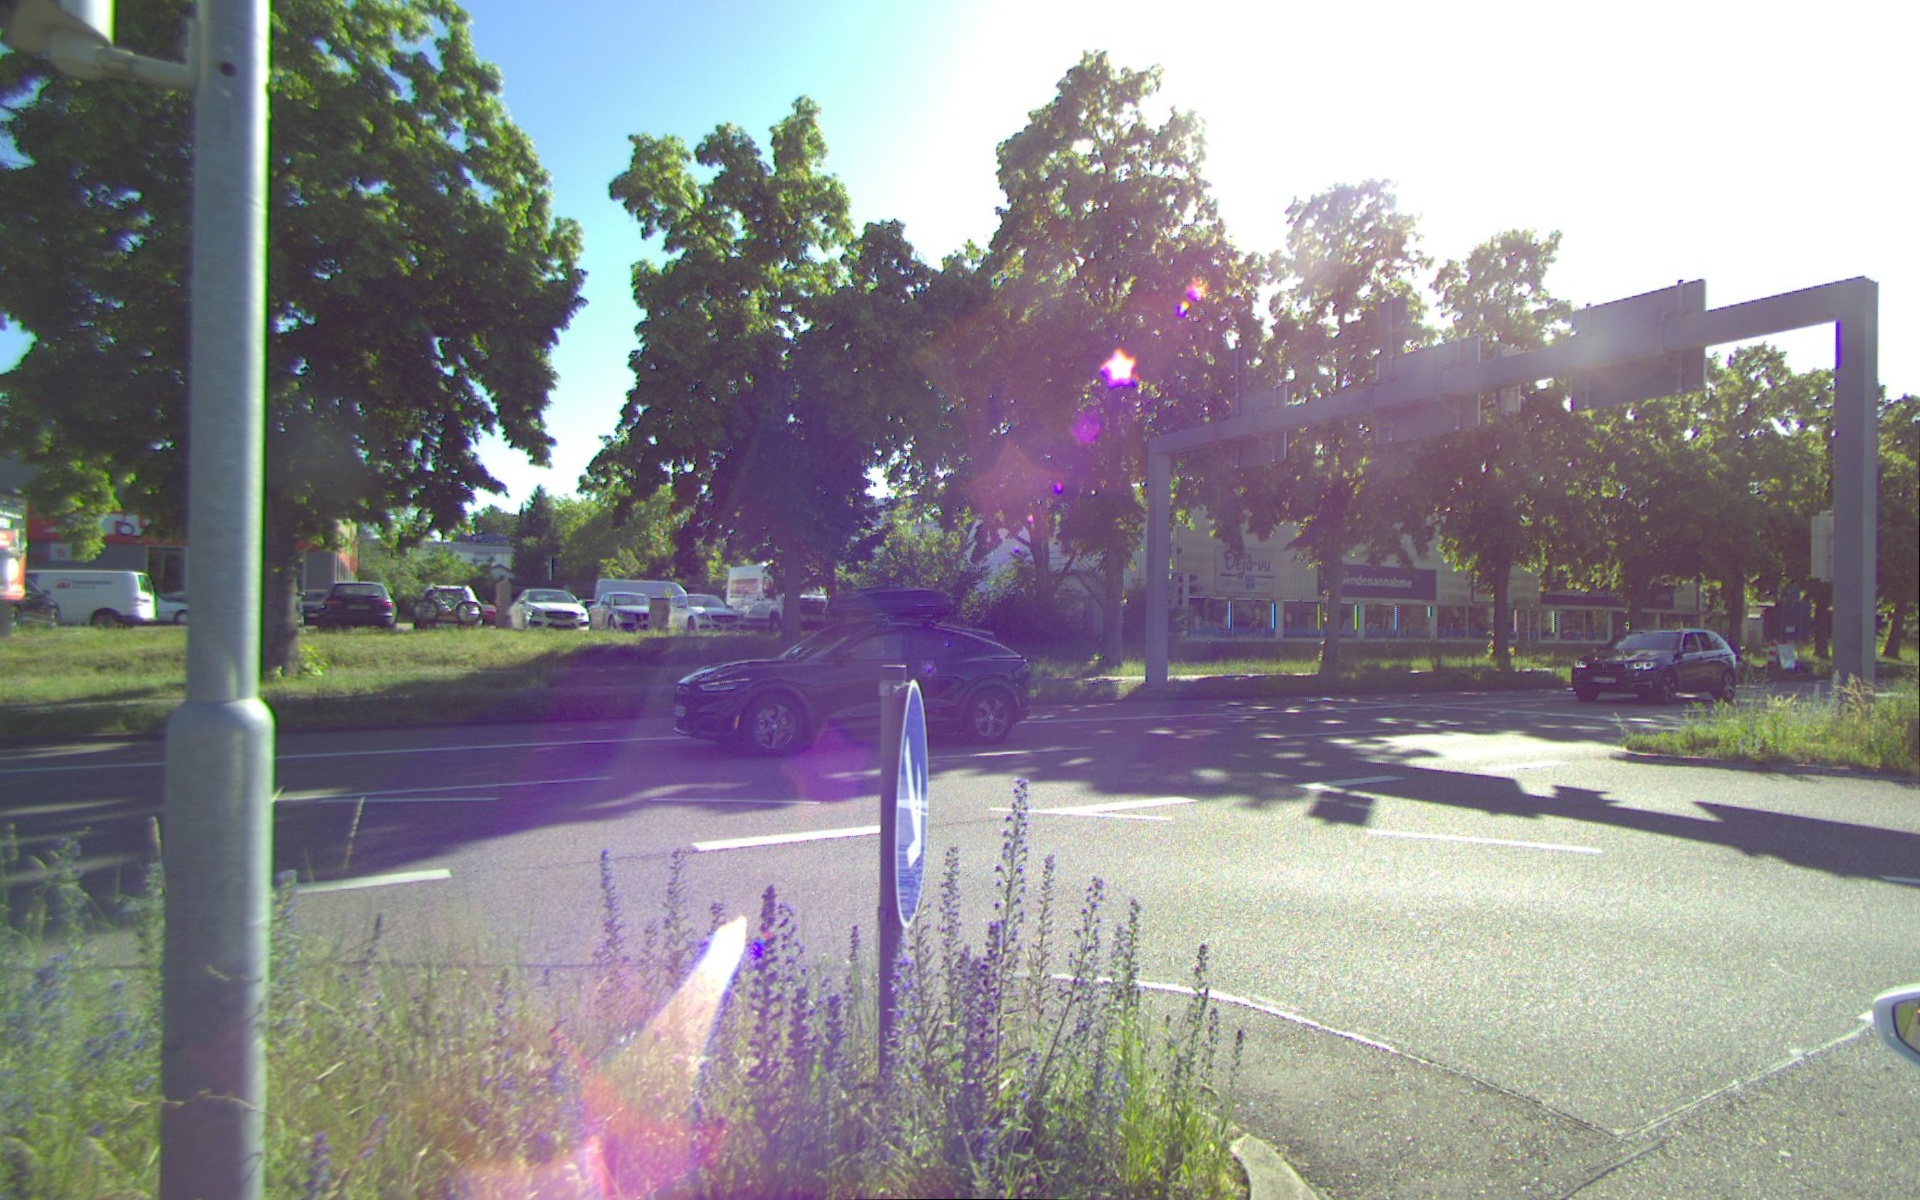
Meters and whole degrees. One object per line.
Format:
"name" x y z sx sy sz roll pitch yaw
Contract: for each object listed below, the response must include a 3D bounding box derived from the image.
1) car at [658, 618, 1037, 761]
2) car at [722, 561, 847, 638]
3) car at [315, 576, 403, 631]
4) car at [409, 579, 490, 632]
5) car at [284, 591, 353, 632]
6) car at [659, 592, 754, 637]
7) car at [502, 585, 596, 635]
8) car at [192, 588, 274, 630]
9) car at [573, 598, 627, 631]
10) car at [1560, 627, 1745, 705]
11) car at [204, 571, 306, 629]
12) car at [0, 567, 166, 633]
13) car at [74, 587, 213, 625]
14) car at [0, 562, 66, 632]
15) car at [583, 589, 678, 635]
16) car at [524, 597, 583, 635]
"car" -1.378 1.074 12.947 4.519 1.563 1.867 2 -3 -31
"car" -6.251 0.051 35.098 2.184 2.465 5.842 1 -2 -33
"car" -16.757 0.137 27.907 1.926 1.407 4.094 2 -2 -33
"car" -15.039 0.209 29.459 1.923 1.407 4.599 1 -2 -29
"car" -24.623 0.477 38.672 1.872 1.474 4.102 1 -2 -28
"car" -8.669 0.501 34.140 1.926 1.407 4.094 2 -2 -33
"car" -12.675 0.323 30.866 1.926 1.407 4.094 2 -2 -33
"car" -27.150 0.375 37.662 1.872 1.474 4.102 1 -2 -28
"car" -17.071 0.713 47.533 1.872 1.474 4.102 1 -2 -28
"car" 16.657 1.534 24.104 4.576 1.719 1.933 1 -3 -31
"car" -18.934 0.049 27.146 1.924 1.407 4.097 1 -2 -31
"car" -28.719 0.022 32.005 5.064 1.982 1.773 1 -1 -27
"car" -34.316 0.279 42.395 4.236 1.474 1.881 2 -1 -30
"car" -23.184 -0.056 23.830 1.922 1.572 4.103 1 -2 -27
"car" -10.763 0.409 32.605 1.926 1.407 4.094 2 -2 -33
"car" -16.861 0.660 41.535 1.872 1.474 4.102 1 -2 -28
